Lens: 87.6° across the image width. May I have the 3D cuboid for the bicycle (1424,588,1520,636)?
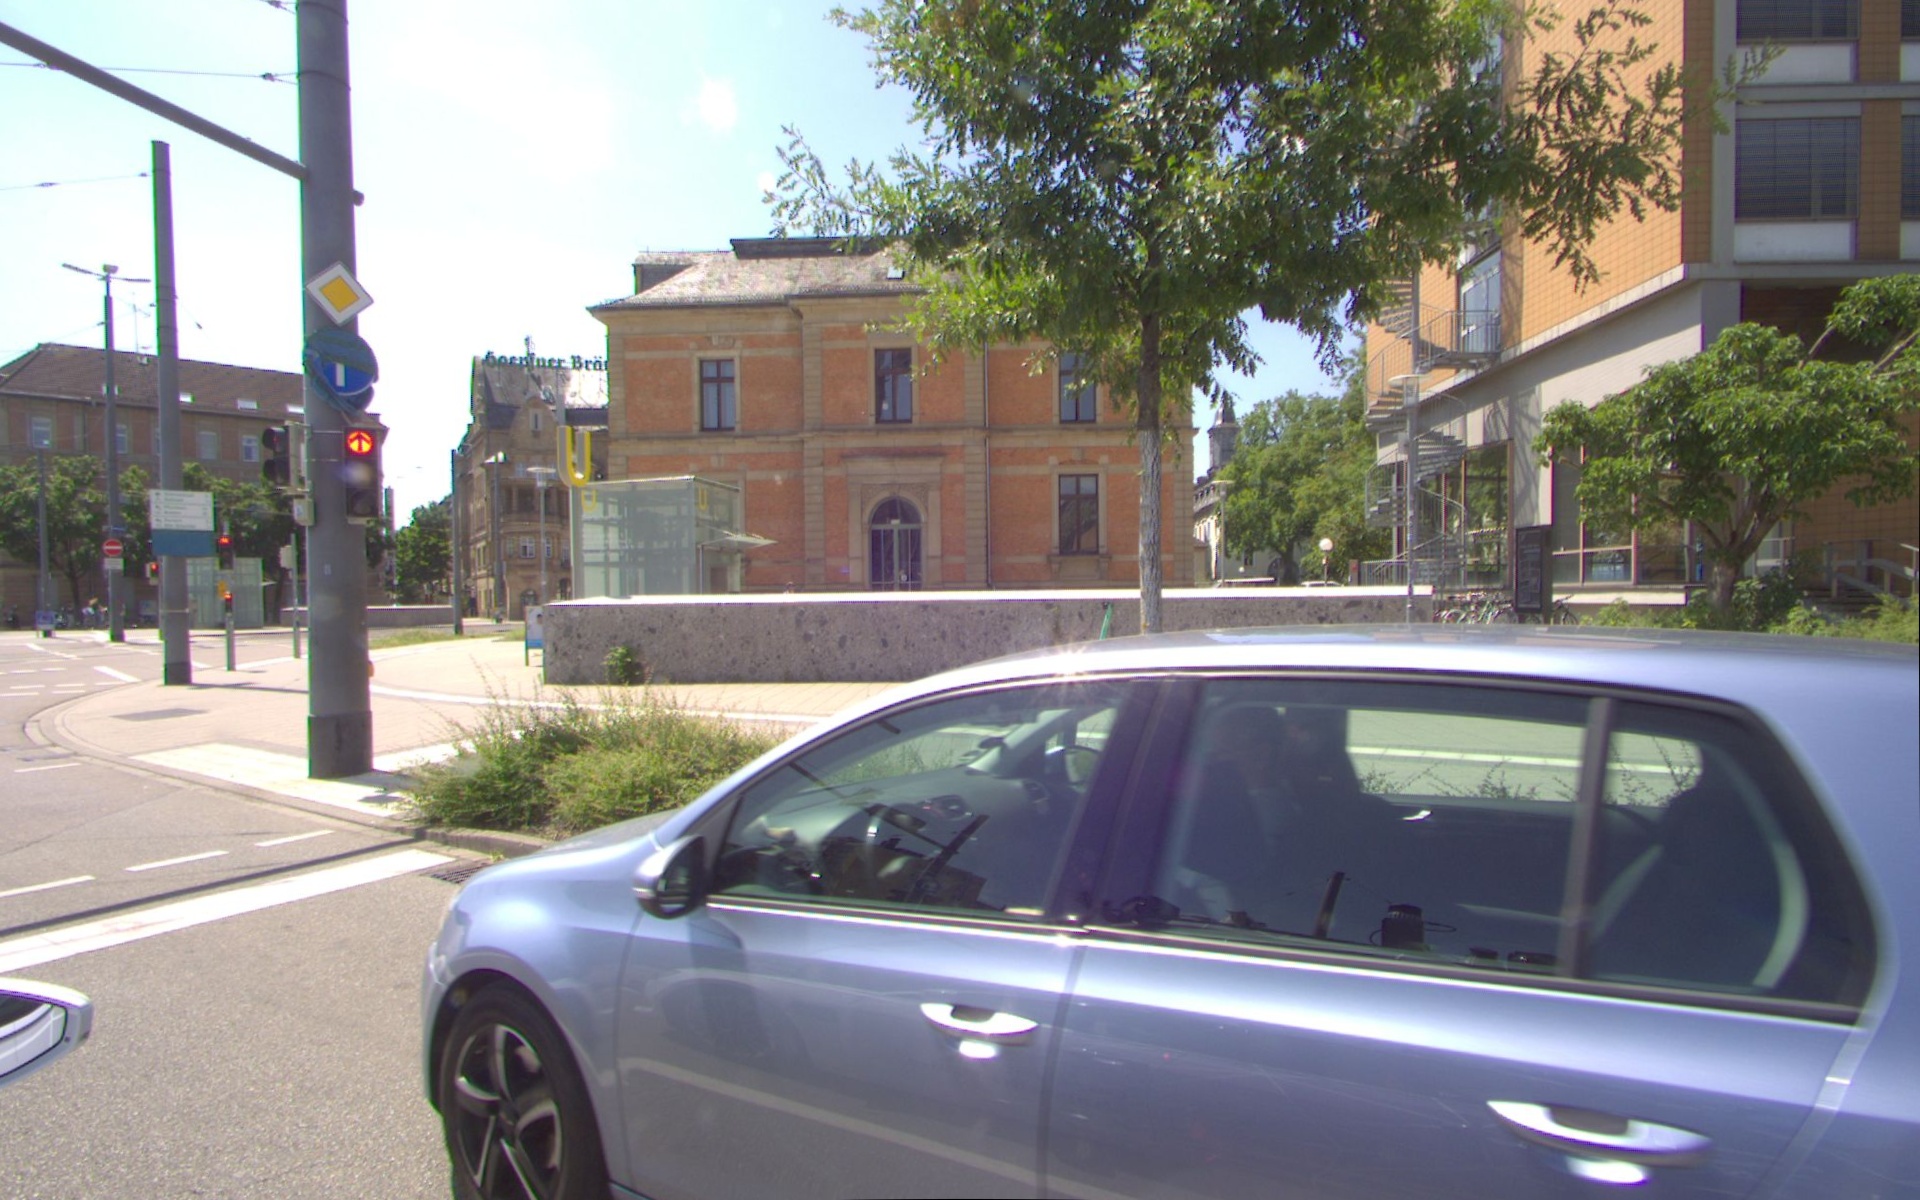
[{"bbox_3d":[13.525,0.334,26.478,2.175,1.234,0.637,0,-1,5],"label":"bicycle"}]

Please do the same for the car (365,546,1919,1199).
[{"bbox_3d":[0.426,0.712,2.366,3.948,1.478,1.647,0,-1,34],"label":"car"}]

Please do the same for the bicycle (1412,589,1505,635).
[{"bbox_3d":[13.572,0.333,27.289,2.175,1.234,0.637,0,-1,5],"label":"bicycle"}]

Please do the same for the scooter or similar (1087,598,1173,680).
[{"bbox_3d":[2.525,0.575,14.824,1.227,1.186,0.458,0,1,13],"label":"scooter or similar"}]

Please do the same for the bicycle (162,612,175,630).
[{"bbox_3d":[-51.946,1.345,65.698,0.547,1.135,1.912,-1,1,-41],"label":"bicycle"}]

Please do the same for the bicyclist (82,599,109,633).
[{"bbox_3d":[-47.584,0.895,55.112,0.469,1.831,1.064,0,-1,8],"label":"bicyclist"}]

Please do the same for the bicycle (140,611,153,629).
[{"bbox_3d":[-52.664,1.300,64.825,0.547,1.135,1.854,-1,1,-41],"label":"bicycle"}]

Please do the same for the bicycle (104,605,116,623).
[{"bbox_3d":[-53.521,0.864,63.026,0.547,1.135,1.804,-1,1,-41],"label":"bicycle"}]

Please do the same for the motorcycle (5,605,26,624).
[{"bbox_3d":[-56.290,0.870,59.665,1.920,1.089,0.578,0,1,36],"label":"motorcycle"}]

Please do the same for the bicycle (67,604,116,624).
[{"bbox_3d":[-47.665,0.770,54.972,0.679,1.066,2.111,0,0,8],"label":"bicycle"}]

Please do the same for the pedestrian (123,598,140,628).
[{"bbox_3d":[-48.728,0.774,58.883,0.628,1.731,0.462,0,1,11],"label":"pedestrian"}]

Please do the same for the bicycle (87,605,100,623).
[{"bbox_3d":[-54.063,0.852,62.493,0.547,1.135,1.804,-1,1,-40],"label":"bicycle"}]

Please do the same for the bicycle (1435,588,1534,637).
[{"bbox_3d":[13.455,0.324,25.728,2.175,1.234,0.637,0,-1,5],"label":"bicycle"}]

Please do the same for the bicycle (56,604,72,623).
[{"bbox_3d":[-55.331,0.839,61.837,2.069,1.160,0.440,-2,-2,39],"label":"bicycle"}]
